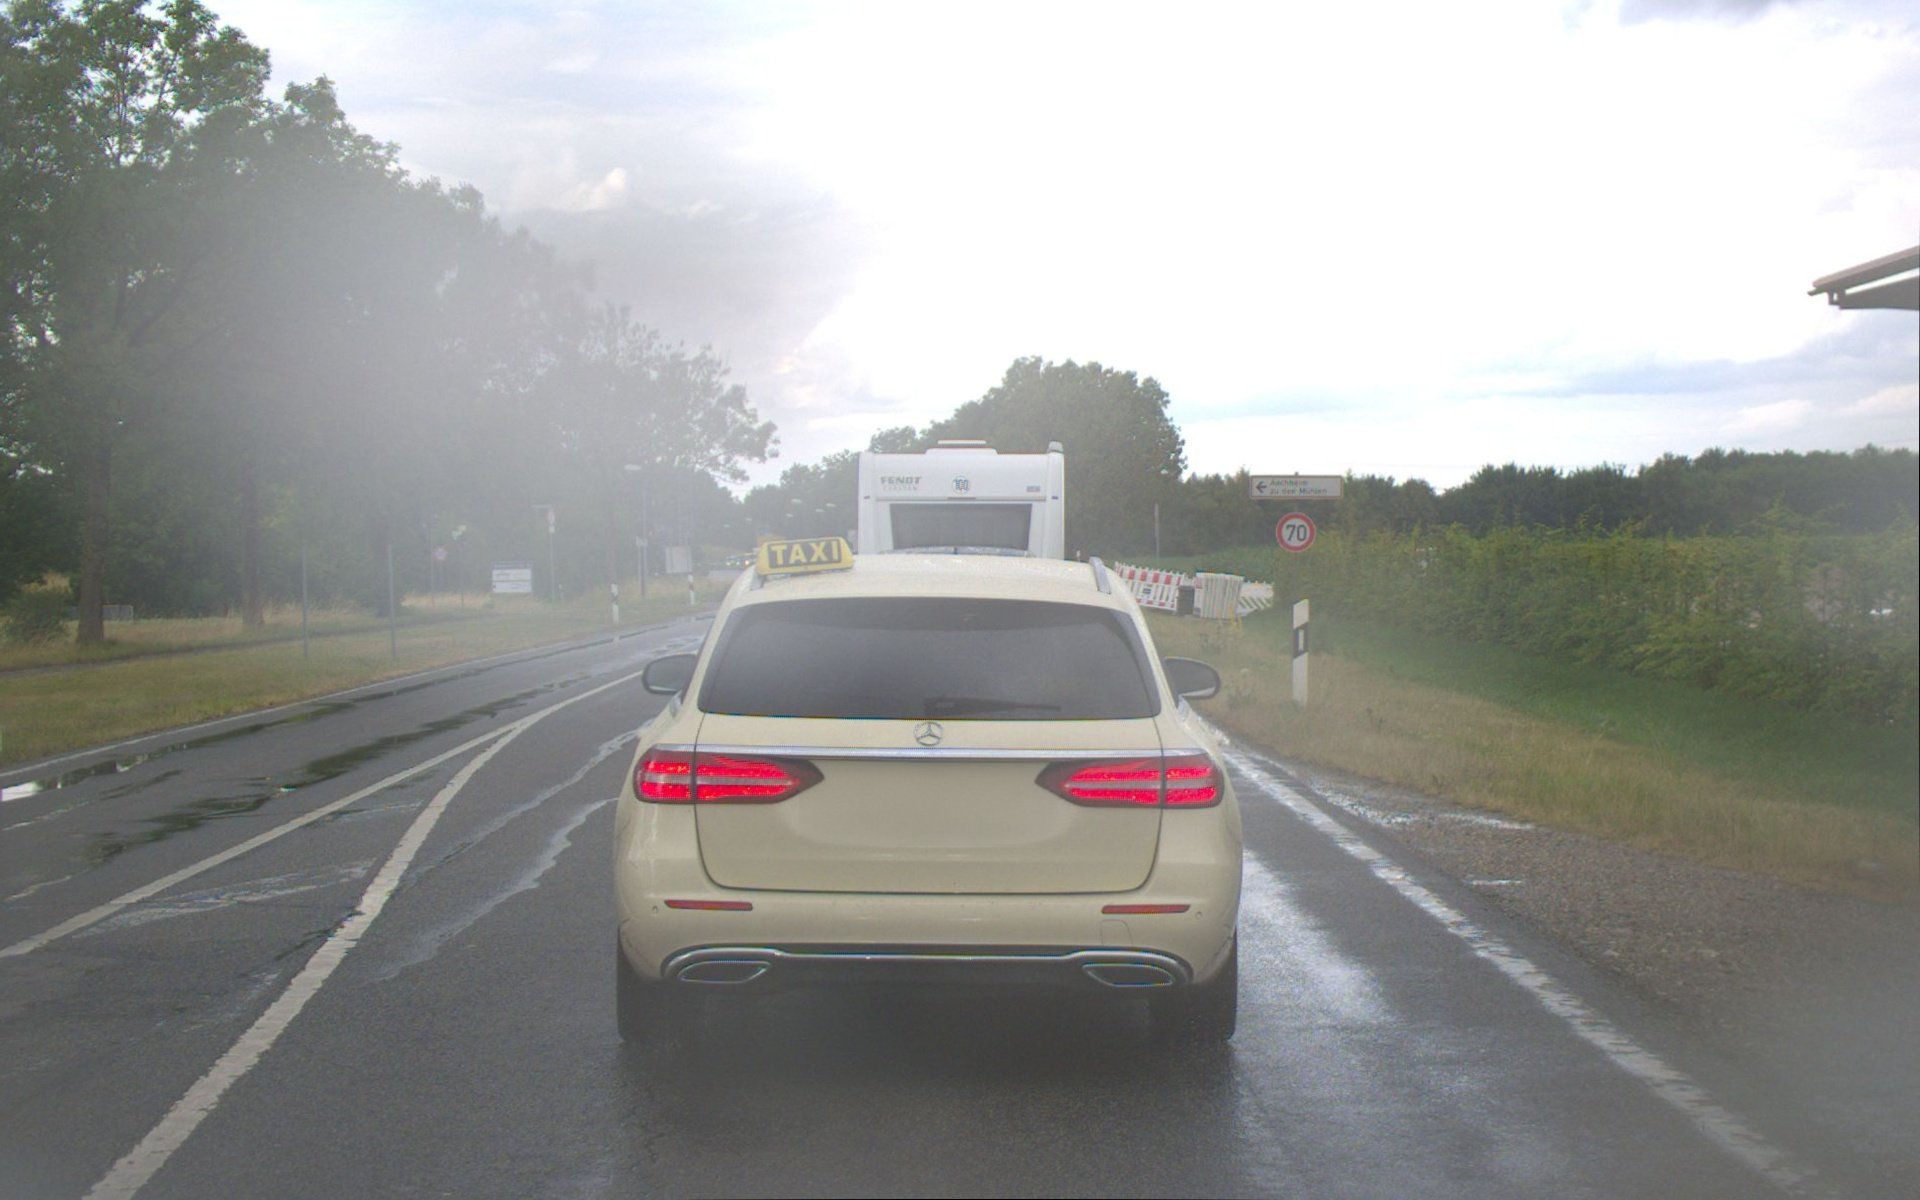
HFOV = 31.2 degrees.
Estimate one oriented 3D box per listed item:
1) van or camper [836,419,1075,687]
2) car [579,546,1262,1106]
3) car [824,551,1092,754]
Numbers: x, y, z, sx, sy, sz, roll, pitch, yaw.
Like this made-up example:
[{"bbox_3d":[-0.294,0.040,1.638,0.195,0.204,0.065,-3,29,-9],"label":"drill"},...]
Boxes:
[{"bbox_3d":[-0.012,-0.550,40.196,2.497,2.821,5.934,-2,1,1],"label":"van or camper"},{"bbox_3d":[-0.098,0.568,11.133,1.797,1.459,4.031,1,1,0],"label":"car"},{"bbox_3d":[-0.032,0.342,26.273,1.894,1.424,3.928,0,1,-1],"label":"car"}]
